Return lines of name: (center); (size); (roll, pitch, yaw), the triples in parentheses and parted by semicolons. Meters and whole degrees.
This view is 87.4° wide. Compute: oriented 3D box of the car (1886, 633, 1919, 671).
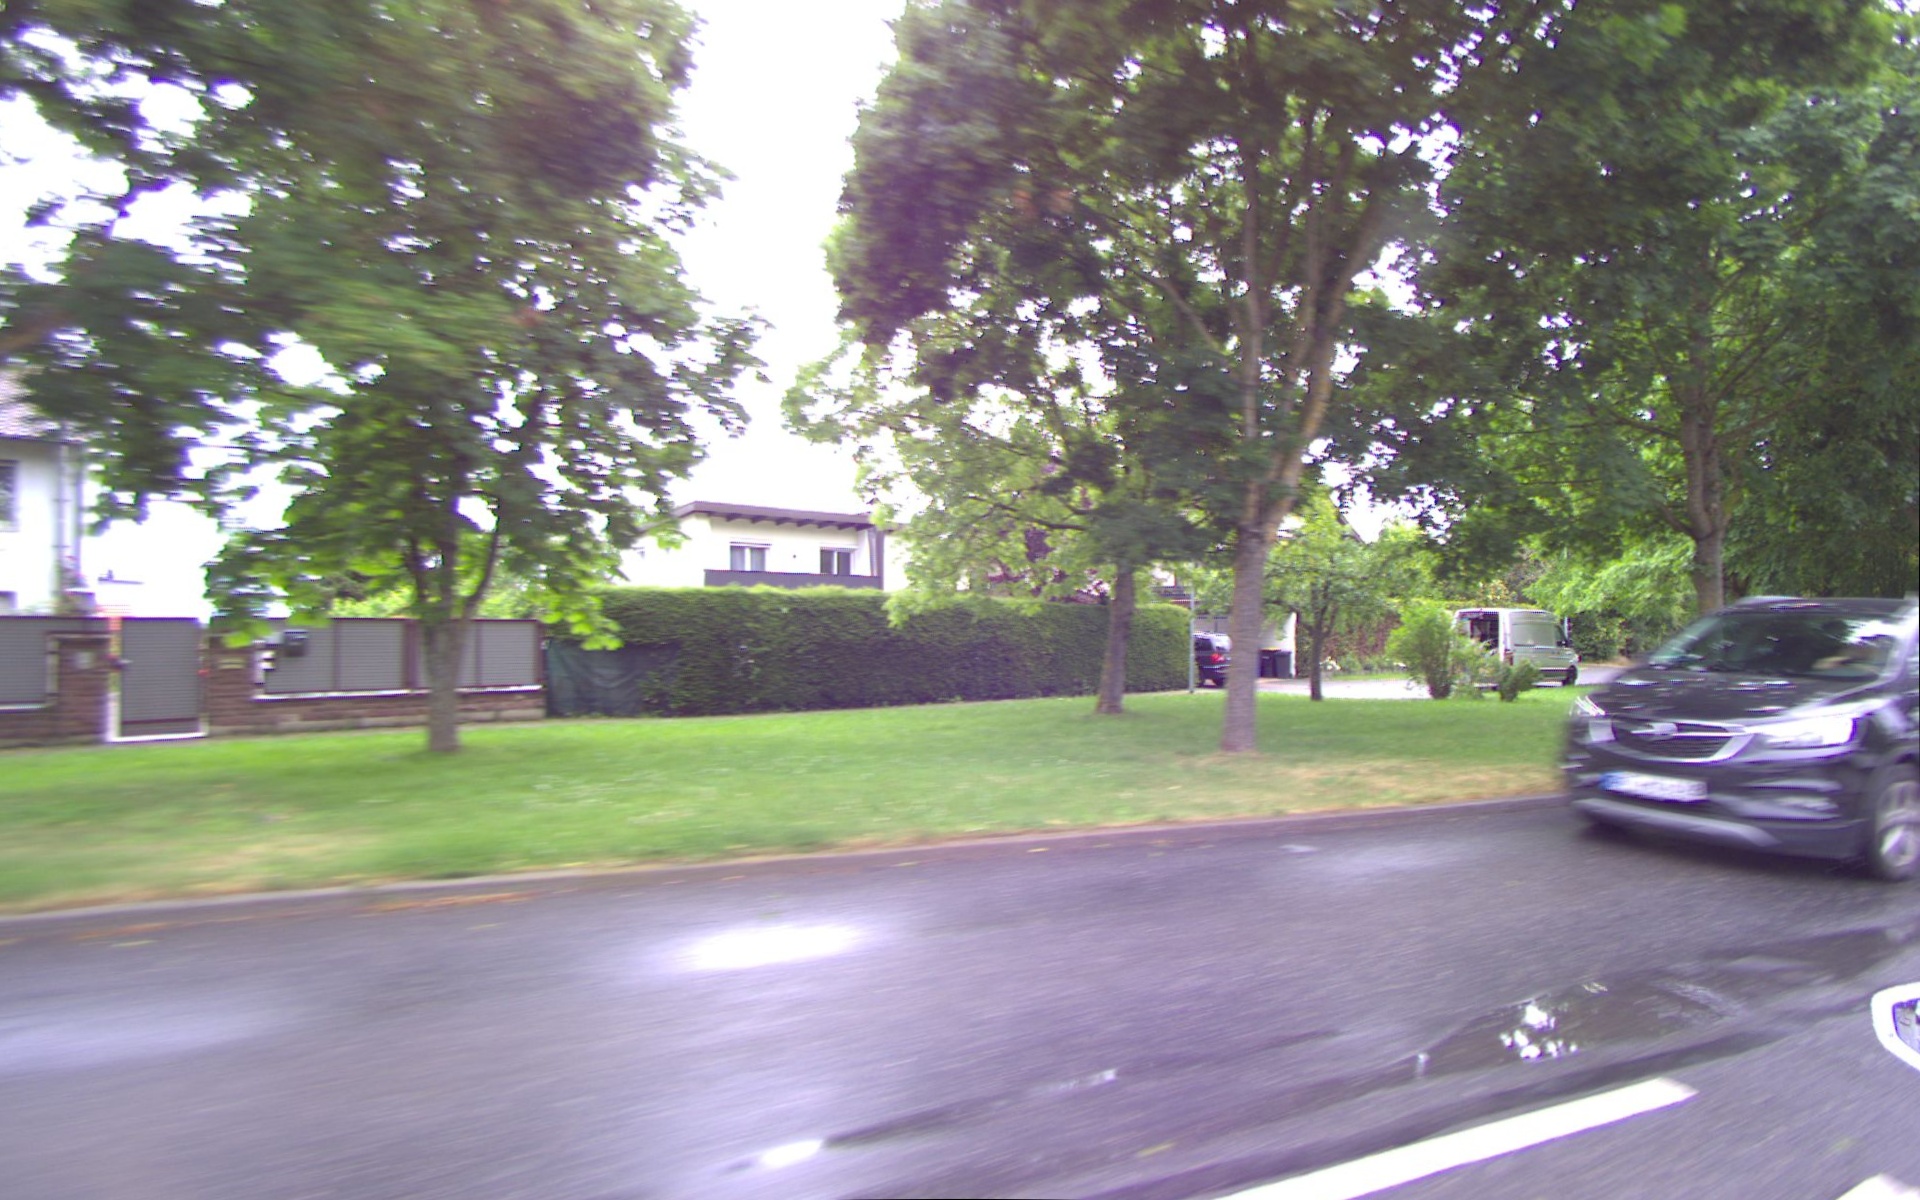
car: (44.506, 2.358, 46.509); (1.838, 1.529, 4.590); (-2, 0, 36)

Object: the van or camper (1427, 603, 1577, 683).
van or camper: (17.457, 1.363, 32.206); (6.103, 2.366, 2.073); (2, -3, -40)

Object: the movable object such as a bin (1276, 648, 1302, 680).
movable object such as a bin: (11.490, 2.239, 35.057); (0.545, 1.072, 0.650); (-1, 0, -40)

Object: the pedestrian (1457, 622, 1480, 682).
pedestrian: (15.708, 1.602, 31.046); (0.397, 1.806, 0.480); (1, -2, -39)

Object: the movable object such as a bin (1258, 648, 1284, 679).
movable object such as a bin: (11.025, 2.243, 35.591); (0.545, 1.072, 0.702); (-1, 0, -40)

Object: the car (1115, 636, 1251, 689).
car: (7.209, 1.975, 32.669); (1.891, 1.615, 3.948); (2, -3, -44)

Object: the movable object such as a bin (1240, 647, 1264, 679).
movable object such as a bin: (10.494, 2.262, 36.111); (0.545, 1.072, 0.650); (-1, 0, -40)

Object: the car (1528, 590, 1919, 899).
car: (6.034, 0.796, 6.979); (4.119, 1.618, 1.703); (1, -1, -28)
